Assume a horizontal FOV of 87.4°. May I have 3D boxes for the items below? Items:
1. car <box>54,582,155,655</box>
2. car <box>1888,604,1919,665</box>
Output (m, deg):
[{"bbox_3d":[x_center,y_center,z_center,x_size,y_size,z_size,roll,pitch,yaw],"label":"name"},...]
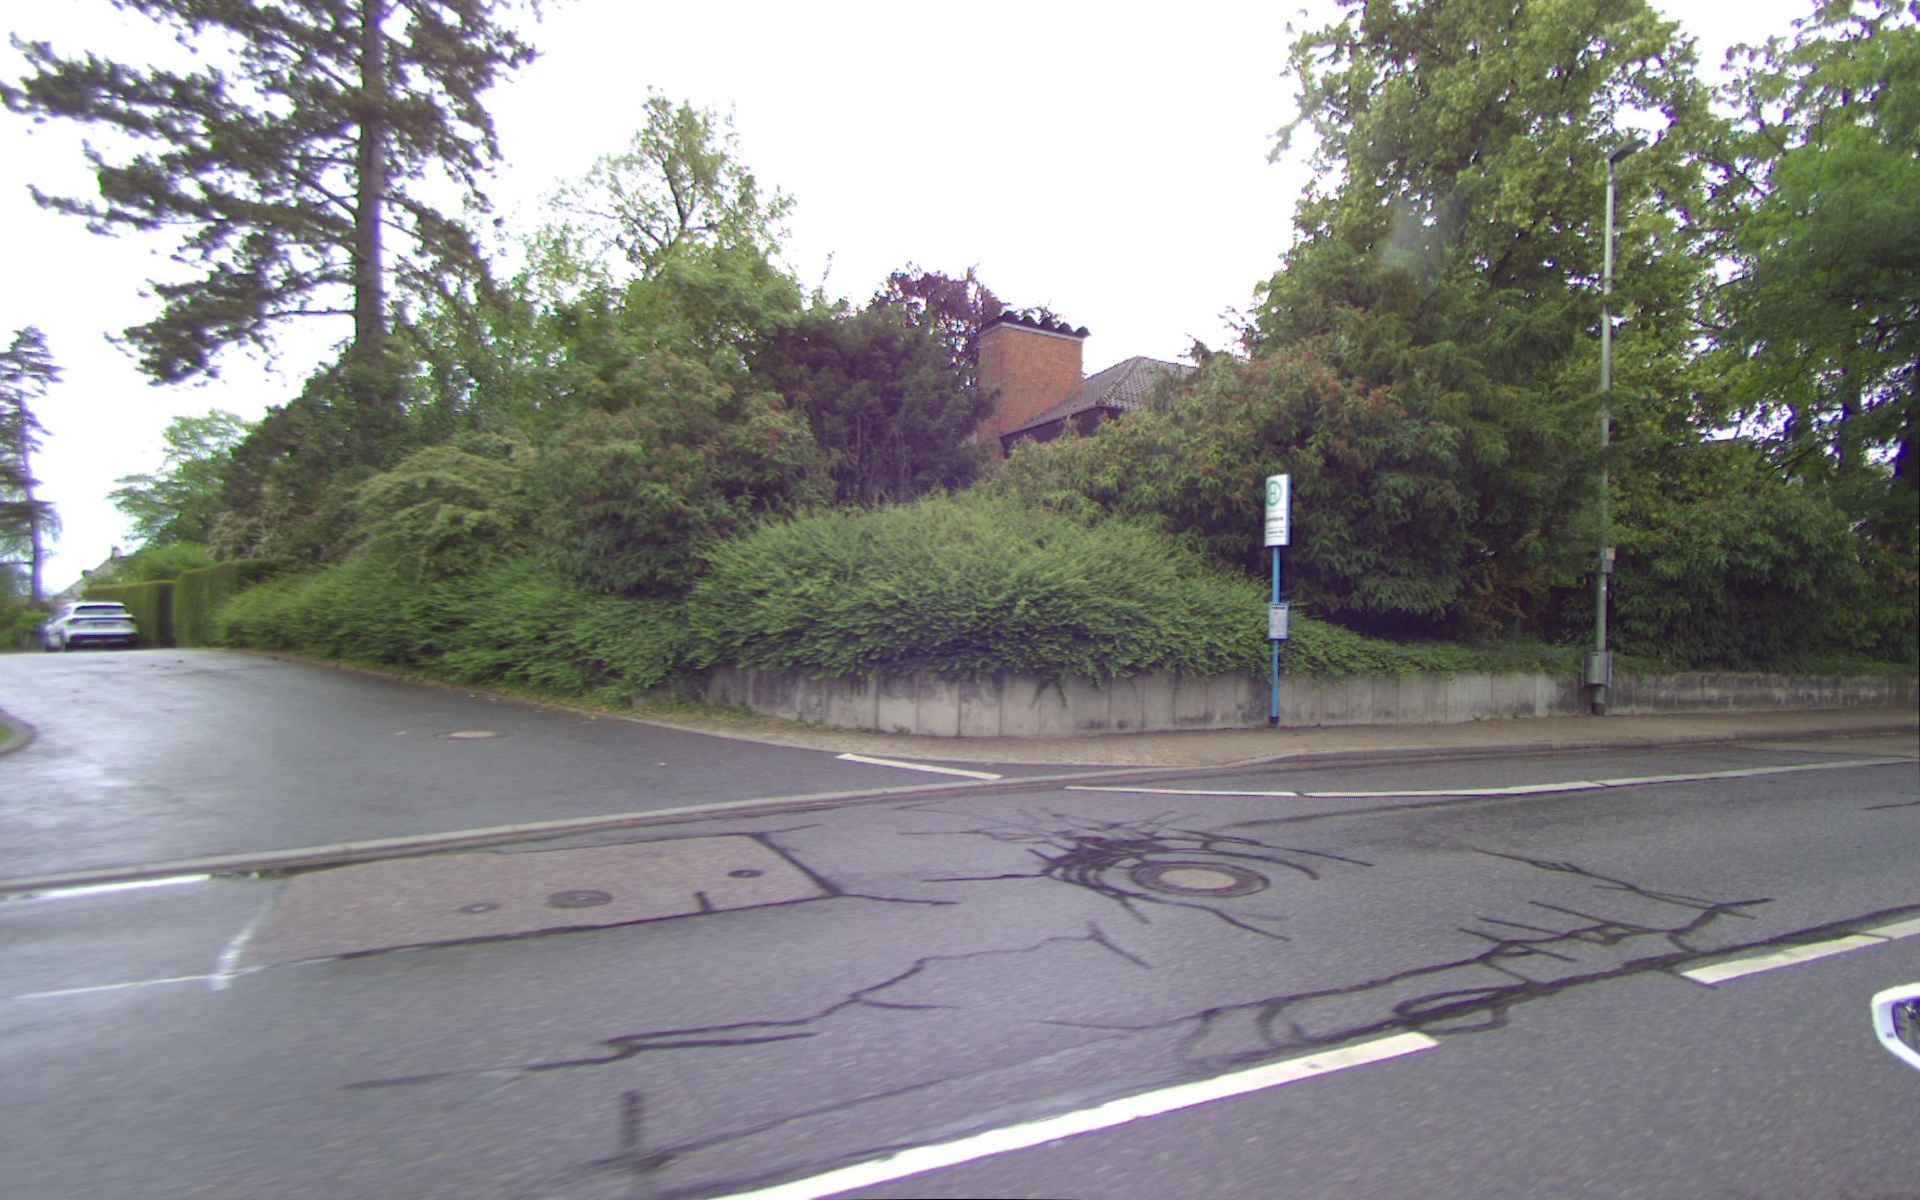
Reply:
[{"bbox_3d":[-26.557,0.520,31.148,3.944,2.041,1.988,3,1,44],"label":"car"},{"bbox_3d":[35.426,1.313,33.477,3.434,2.065,5.722,2,1,-27],"label":"car"}]
